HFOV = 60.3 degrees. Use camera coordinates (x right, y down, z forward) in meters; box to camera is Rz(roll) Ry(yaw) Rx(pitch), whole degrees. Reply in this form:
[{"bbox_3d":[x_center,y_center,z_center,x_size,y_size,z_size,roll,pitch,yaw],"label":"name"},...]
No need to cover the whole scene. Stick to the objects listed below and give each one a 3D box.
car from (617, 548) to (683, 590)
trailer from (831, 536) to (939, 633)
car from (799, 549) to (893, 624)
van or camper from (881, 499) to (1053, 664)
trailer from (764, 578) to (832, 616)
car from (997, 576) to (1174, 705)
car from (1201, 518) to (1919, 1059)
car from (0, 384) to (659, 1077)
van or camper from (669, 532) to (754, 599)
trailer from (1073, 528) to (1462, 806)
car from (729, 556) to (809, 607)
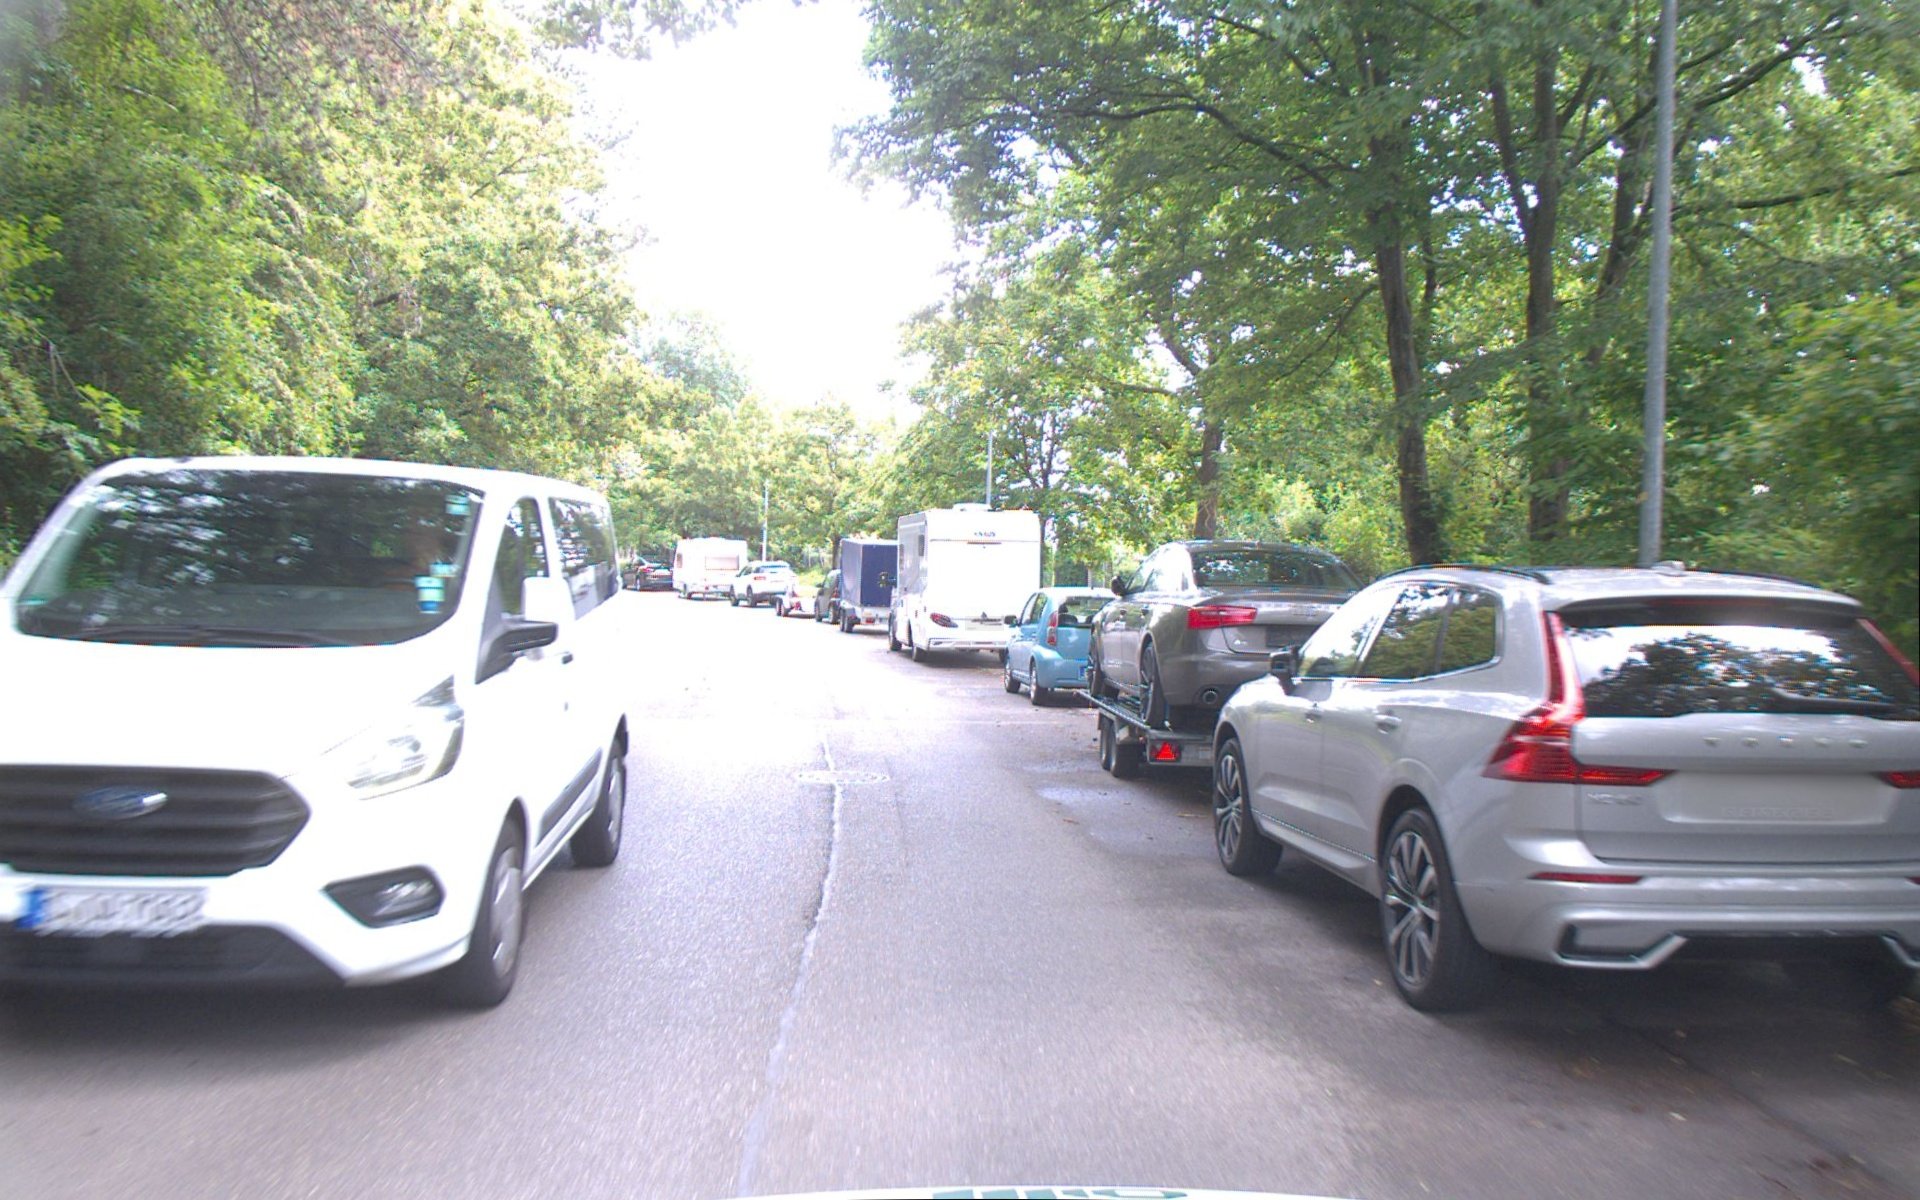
[{"bbox_3d":[-14.910,-1.517,79.424,1.972,1.901,3.963,-1,3,-29],"label":"car"},{"bbox_3d":[-2.061,-0.421,44.229,1.961,2.440,3.983,1,0,-16],"label":"trailer"},{"bbox_3d":[-3.446,-0.448,49.351,1.962,2.061,3.983,-1,3,-17],"label":"car"},{"bbox_3d":[-0.020,-0.358,33.426,2.436,2.926,6.877,2,0,-8],"label":"van or camper"},{"bbox_3d":[-5.238,-0.106,53.103,1.624,1.105,3.986,-1,2,-14],"label":"trailer"},{"bbox_3d":[1.651,0.495,23.042,1.765,1.589,3.830,1,1,-6],"label":"car"},{"bbox_3d":[2.498,0.642,7.533,1.757,1.699,4.496,1,-1,-5],"label":"car"},{"bbox_3d":[-2.540,0.365,7.130,1.909,2.019,4.498,2,0,-4],"label":"car"},{"bbox_3d":[-10.585,-1.482,70.192,2.493,2.744,4.542,0,1,-23],"label":"van or camper"},{"bbox_3d":[2.250,0.406,13.688,1.940,1.843,5.145,1,1,-4],"label":"trailer"},{"bbox_3d":[-7.227,-0.705,62.181,2.006,1.835,4.057,1,1,-21],"label":"car"}]
